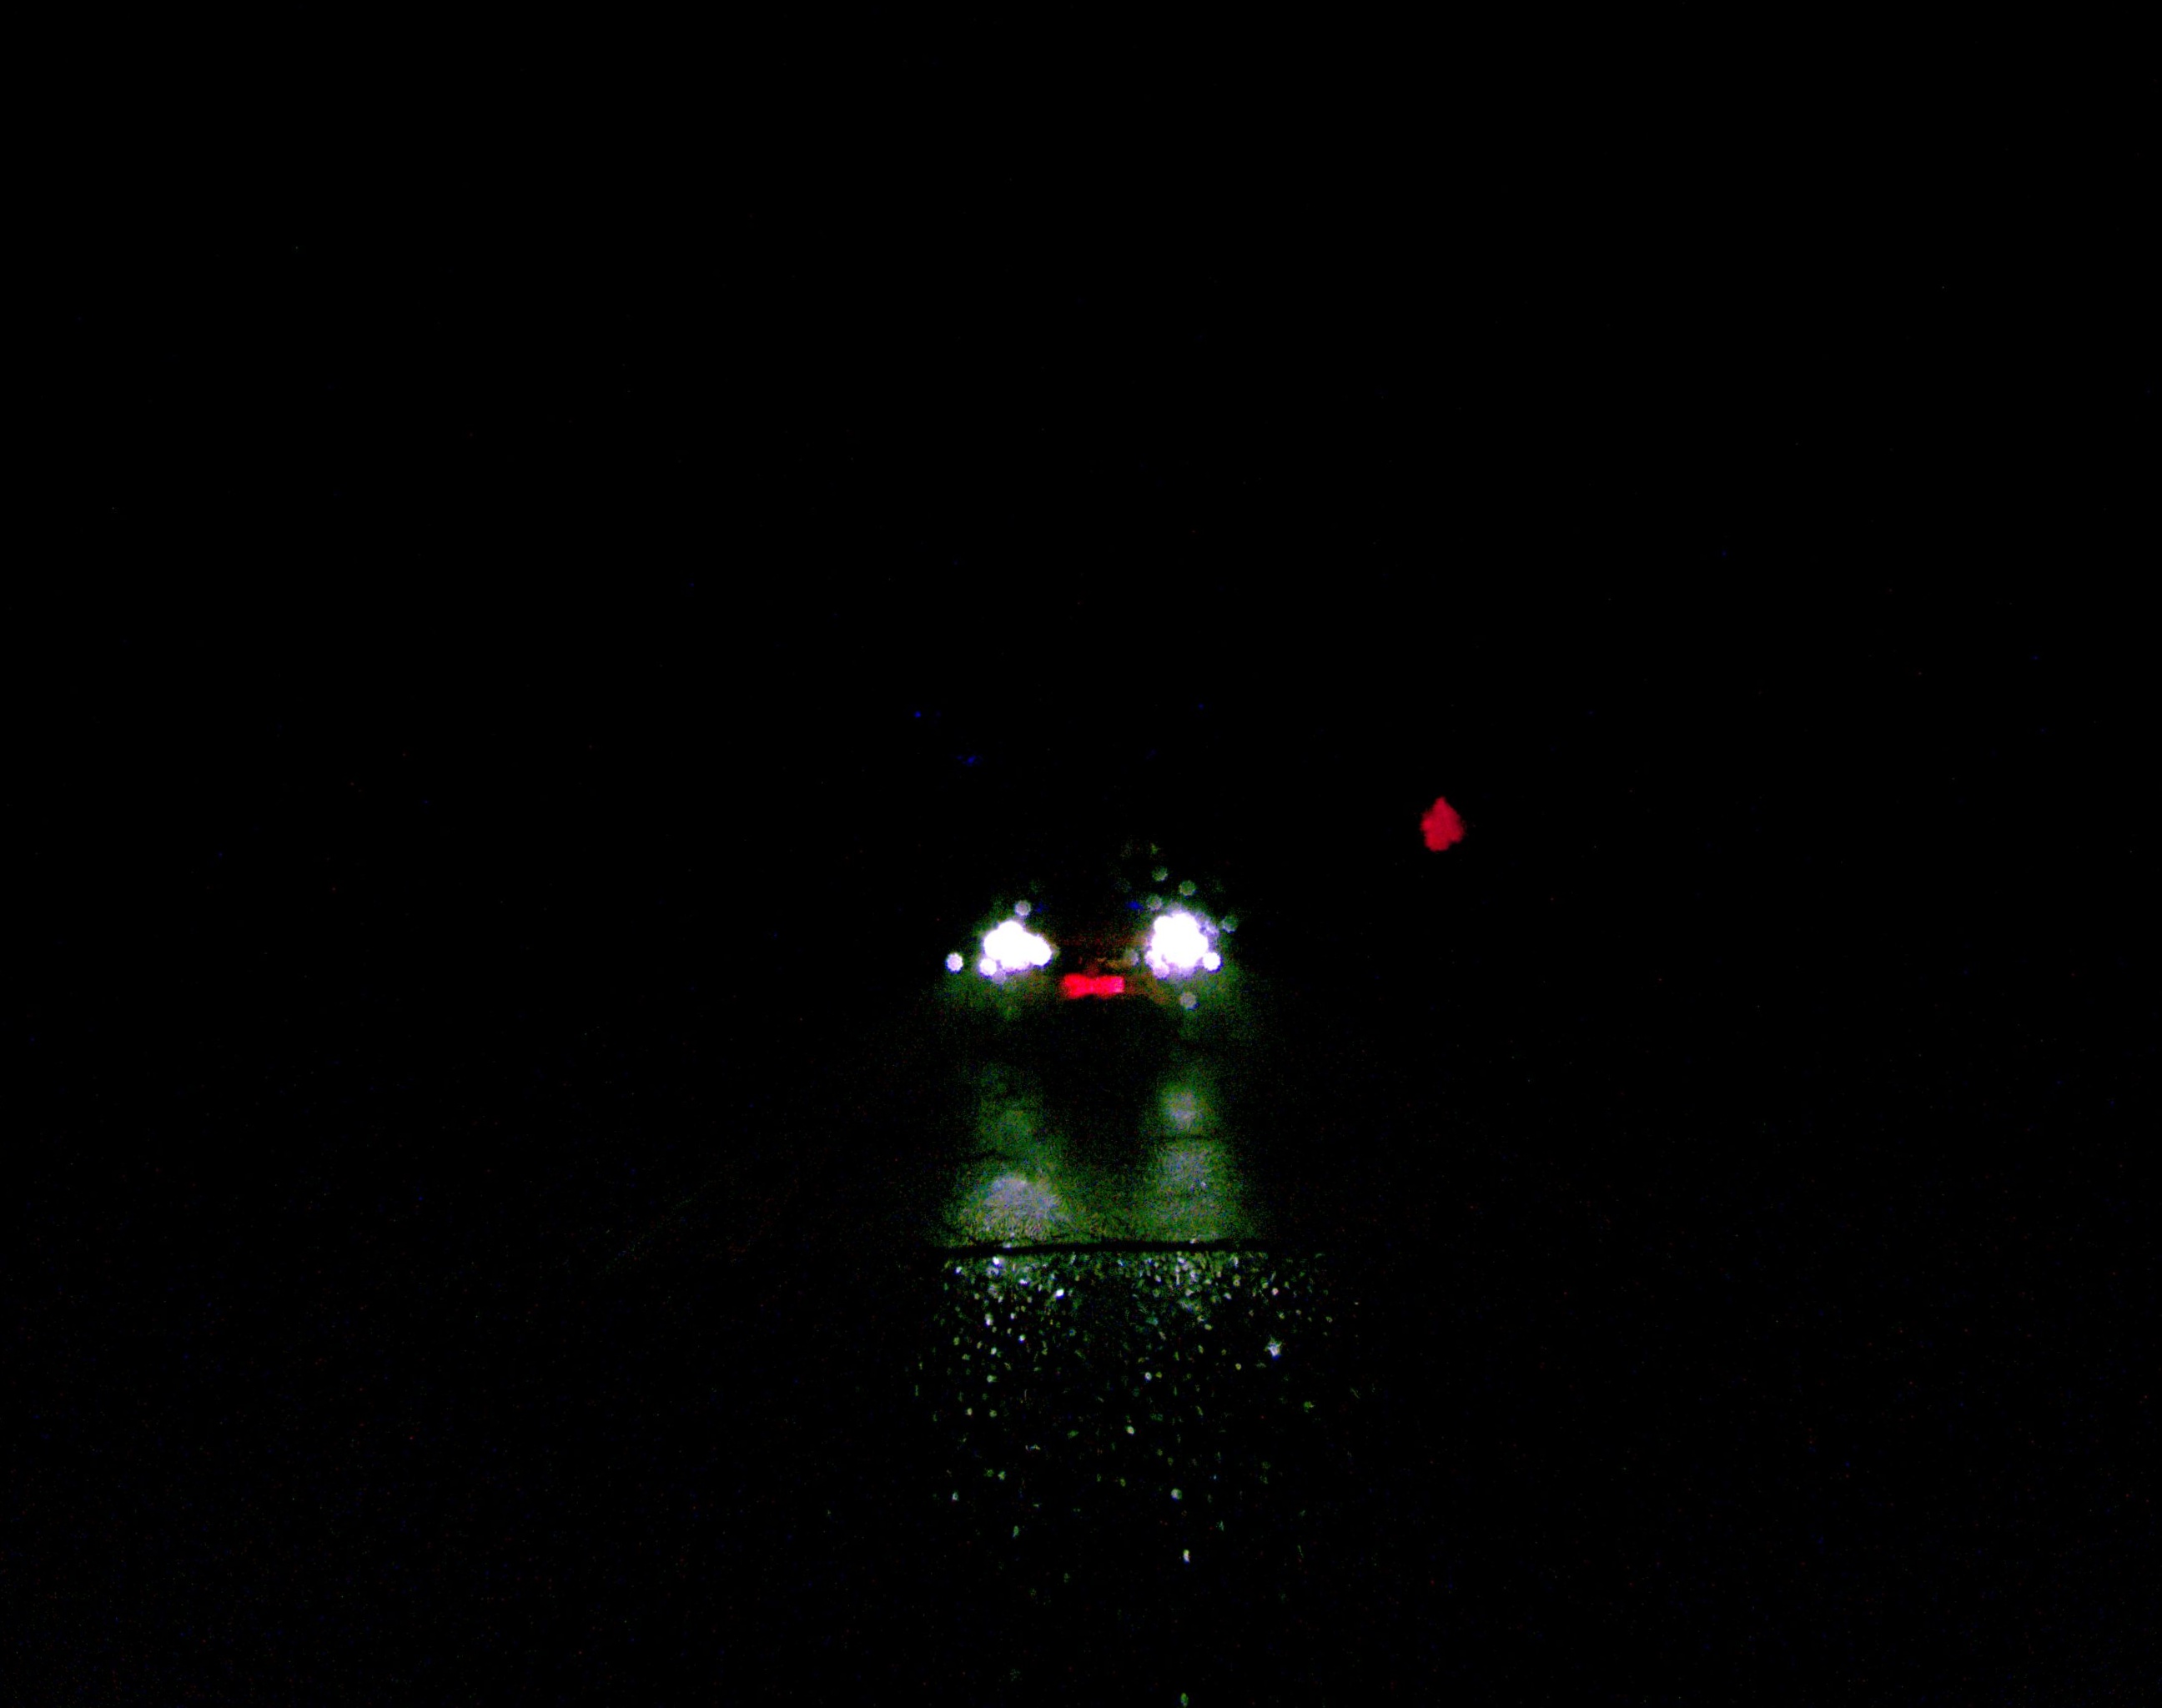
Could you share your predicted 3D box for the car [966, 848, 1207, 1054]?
[{"bbox_3d":[0.139,0.756,7.983,1.845,1.565,4.000,-2,1,3],"label":"car"}]
